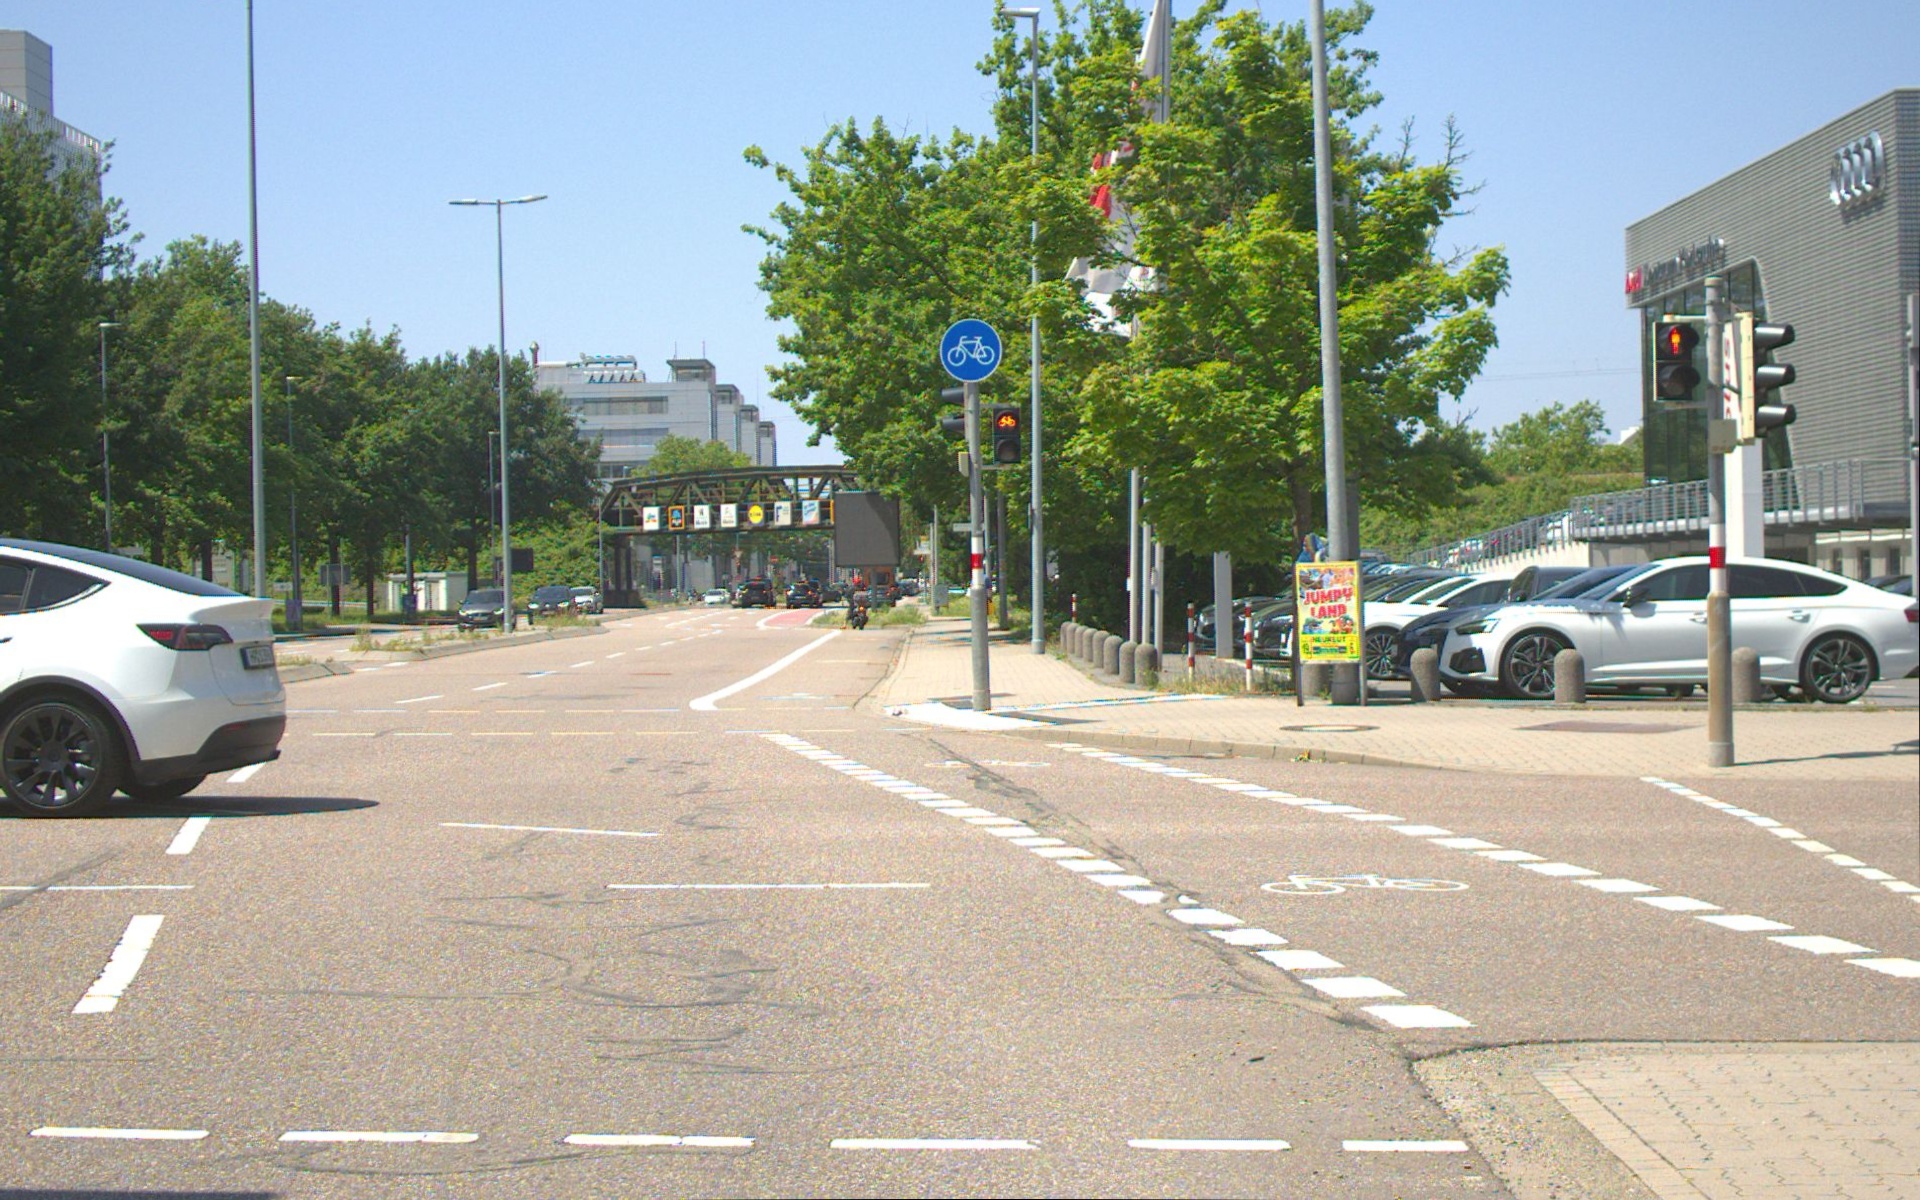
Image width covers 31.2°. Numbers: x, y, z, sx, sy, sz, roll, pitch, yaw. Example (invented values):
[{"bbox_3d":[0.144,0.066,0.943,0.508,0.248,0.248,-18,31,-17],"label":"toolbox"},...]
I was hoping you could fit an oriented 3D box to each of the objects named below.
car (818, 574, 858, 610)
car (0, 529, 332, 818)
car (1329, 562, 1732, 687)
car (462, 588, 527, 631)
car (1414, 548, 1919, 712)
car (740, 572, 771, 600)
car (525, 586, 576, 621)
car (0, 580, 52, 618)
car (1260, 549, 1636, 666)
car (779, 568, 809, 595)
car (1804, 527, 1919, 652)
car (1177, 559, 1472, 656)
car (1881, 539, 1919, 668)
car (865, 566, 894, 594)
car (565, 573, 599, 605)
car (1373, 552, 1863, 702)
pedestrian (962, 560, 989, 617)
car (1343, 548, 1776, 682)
[{"bbox_3d":[-3.726,-0.249,105.287,1.137,1.038,2.308,-1,1,-1],"label":"car"},{"bbox_3d":[-6.243,0.419,20.121,4.680,1.583,2.000,-1,0,5],"label":"car"},{"bbox_3d":[7.209,0.295,43.756,4.741,1.452,2.000,-1,1,-2],"label":"car"},{"bbox_3d":[-16.405,0.324,121.291,1.732,1.422,3.706,-3,0,-1],"label":"car"},{"bbox_3d":[6.877,0.267,33.227,4.741,1.452,2.000,-1,1,2],"label":"car"},{"bbox_3d":[-13.395,-0.919,224.982,1.772,1.722,4.000,-1,0,-1],"label":"car"},{"bbox_3d":[-17.221,0.147,144.659,1.684,1.406,3.665,-1,0,-1],"label":"car"},{"bbox_3d":[-47.631,-0.059,174.250,1.994,1.804,4.029,1,1,3],"label":"car"},{"bbox_3d":[6.558,0.082,46.554,4.741,1.452,2.000,-1,1,-2],"label":"car"},{"bbox_3d":[-10.620,-1.182,220.213,1.772,1.722,4.000,-1,0,-1],"label":"car"},{"bbox_3d":[16.140,-0.207,56.577,3.987,2.007,2.000,-1,1,1],"label":"car"},{"bbox_3d":[6.196,0.108,58.813,4.741,1.452,2.000,-2,1,-2],"label":"car"},{"bbox_3d":[16.844,-0.002,54.377,3.987,2.007,2.000,-1,1,1],"label":"car"},{"bbox_3d":[-5.161,-1.289,220.713,1.772,1.722,4.000,-1,0,-1],"label":"car"},{"bbox_3d":[-20.045,-0.614,182.544,1.648,1.647,4.164,-1,1,-5],"label":"car"},{"bbox_3d":[6.806,0.280,35.953,4.741,1.452,2.000,-1,0,2],"label":"car"},{"bbox_3d":[0.417,-0.321,92.343,0.668,1.505,0.736,-1,0,-1],"label":"pedestrian"},{"bbox_3d":[6.960,0.157,40.273,4.741,1.452,2.000,-1,1,2],"label":"car"}]
